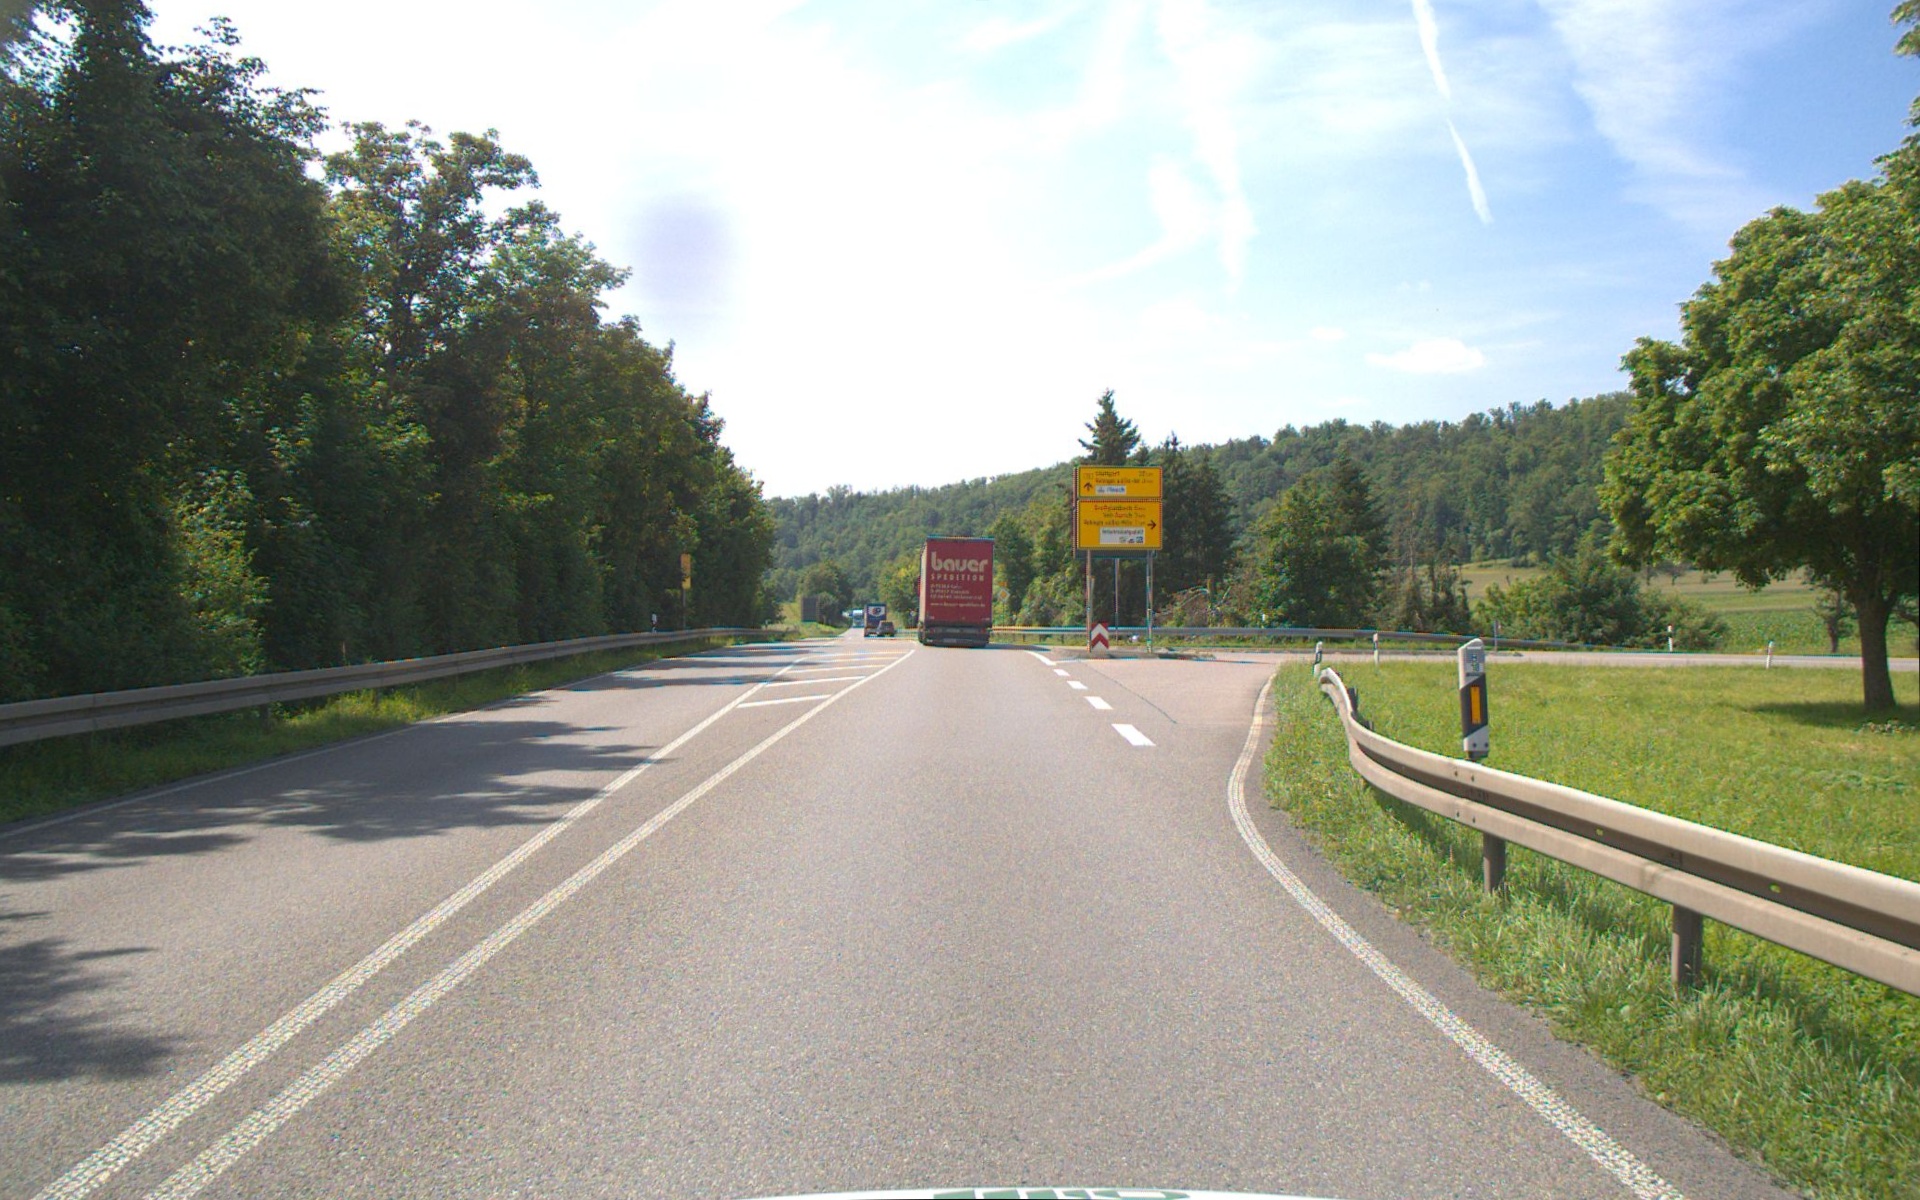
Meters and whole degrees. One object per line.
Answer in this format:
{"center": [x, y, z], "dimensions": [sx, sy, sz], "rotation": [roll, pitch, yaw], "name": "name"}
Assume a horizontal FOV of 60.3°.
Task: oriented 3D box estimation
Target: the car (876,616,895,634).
{"center": [-8.220, 2.739, 182.490], "dimensions": [1.955, 1.842, 3.996], "rotation": [3, -2, -5], "name": "car"}

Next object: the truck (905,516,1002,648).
{"center": [-0.450, -0.653, 66.844], "dimensions": [3.109, 4.706, 13.534], "rotation": [1, 0, -3], "name": "truck"}

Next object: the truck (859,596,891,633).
{"center": [-11.042, 1.917, 213.632], "dimensions": [3.828, 4.446, 13.280], "rotation": [2, -2, -4], "name": "truck"}
